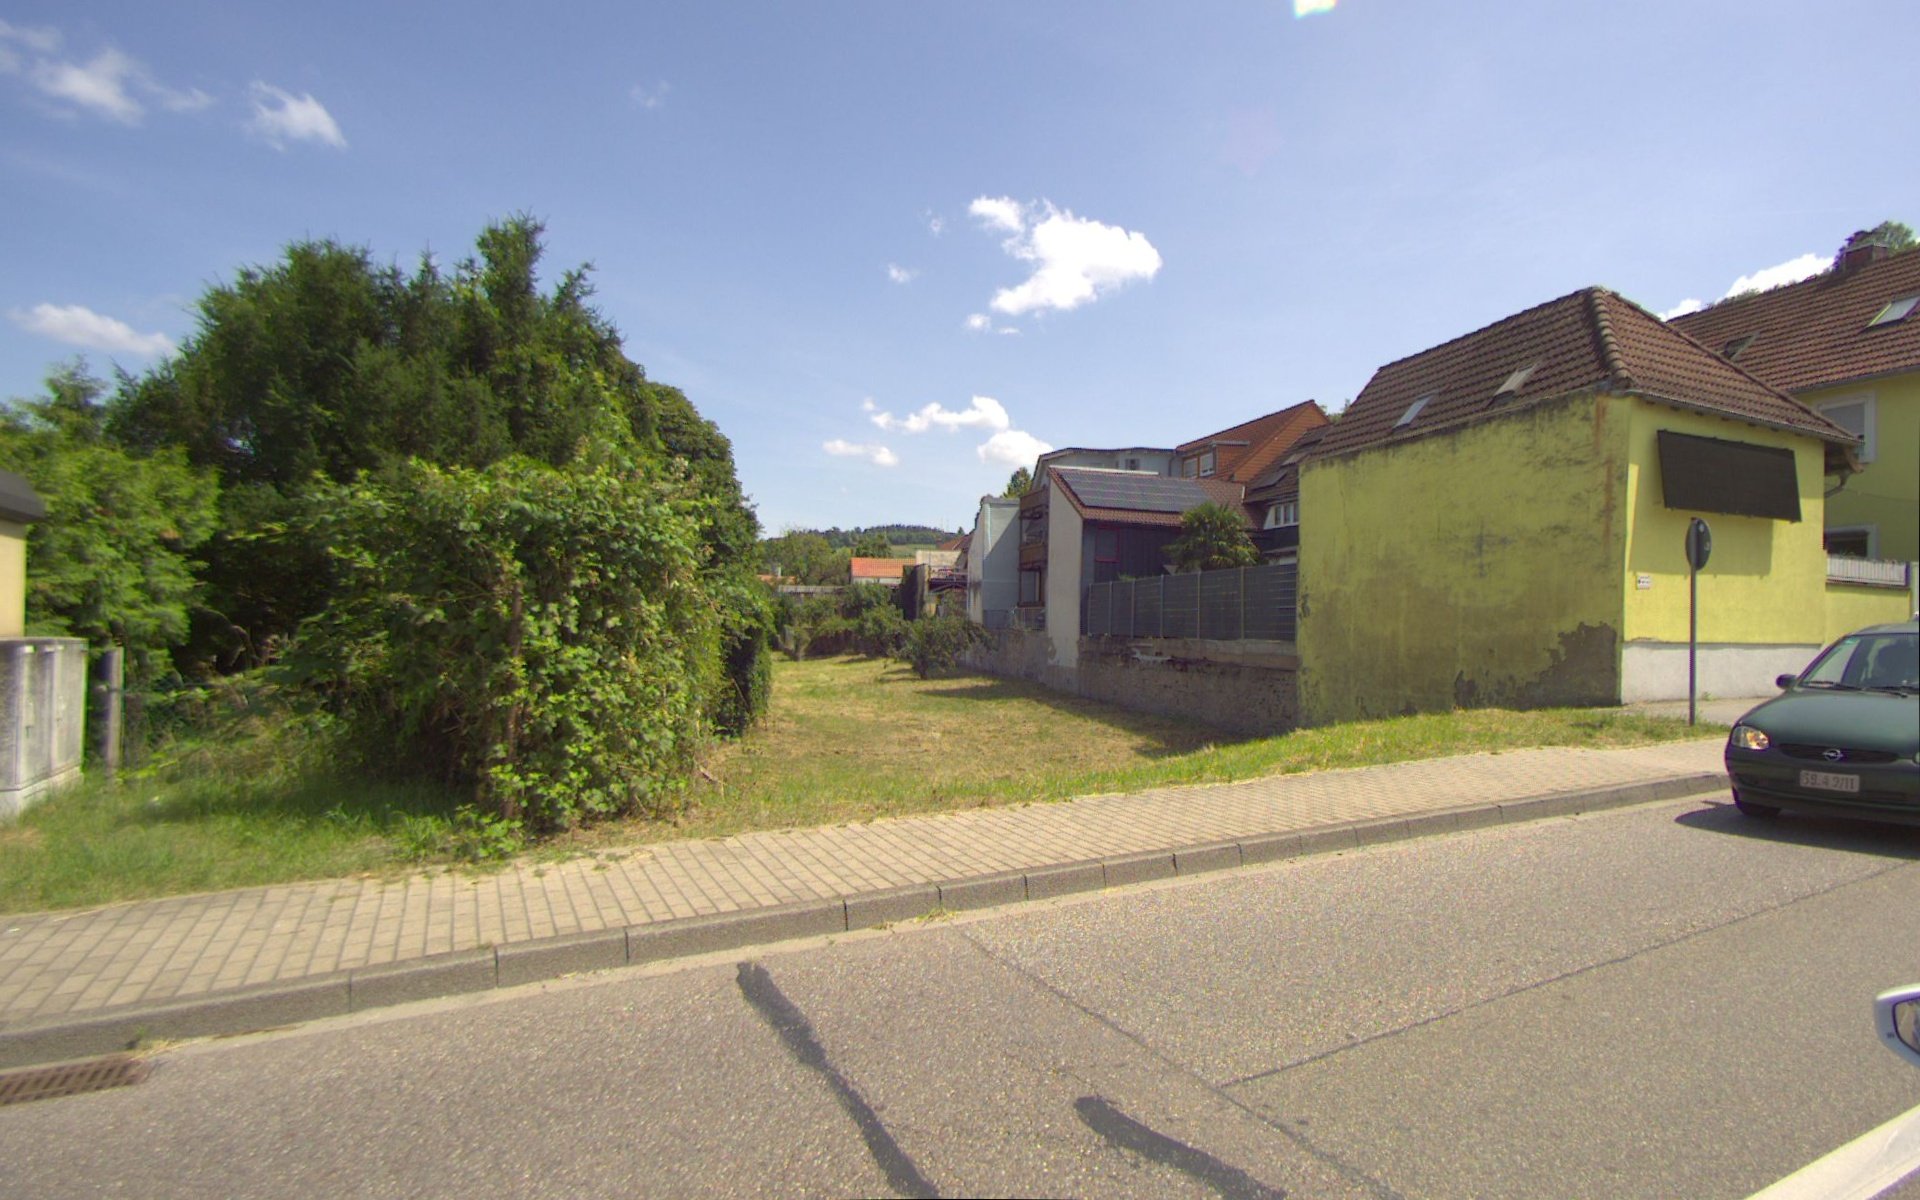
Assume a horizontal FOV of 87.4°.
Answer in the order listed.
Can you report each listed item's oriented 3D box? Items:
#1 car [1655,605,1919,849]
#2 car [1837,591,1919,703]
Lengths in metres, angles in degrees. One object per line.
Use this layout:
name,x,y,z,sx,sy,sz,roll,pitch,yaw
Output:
car,7.139,0.793,7.412,3.824,1.452,1.773,1,-2,-28
car,16.376,0.731,16.113,4.572,1.657,1.985,1,1,-28
